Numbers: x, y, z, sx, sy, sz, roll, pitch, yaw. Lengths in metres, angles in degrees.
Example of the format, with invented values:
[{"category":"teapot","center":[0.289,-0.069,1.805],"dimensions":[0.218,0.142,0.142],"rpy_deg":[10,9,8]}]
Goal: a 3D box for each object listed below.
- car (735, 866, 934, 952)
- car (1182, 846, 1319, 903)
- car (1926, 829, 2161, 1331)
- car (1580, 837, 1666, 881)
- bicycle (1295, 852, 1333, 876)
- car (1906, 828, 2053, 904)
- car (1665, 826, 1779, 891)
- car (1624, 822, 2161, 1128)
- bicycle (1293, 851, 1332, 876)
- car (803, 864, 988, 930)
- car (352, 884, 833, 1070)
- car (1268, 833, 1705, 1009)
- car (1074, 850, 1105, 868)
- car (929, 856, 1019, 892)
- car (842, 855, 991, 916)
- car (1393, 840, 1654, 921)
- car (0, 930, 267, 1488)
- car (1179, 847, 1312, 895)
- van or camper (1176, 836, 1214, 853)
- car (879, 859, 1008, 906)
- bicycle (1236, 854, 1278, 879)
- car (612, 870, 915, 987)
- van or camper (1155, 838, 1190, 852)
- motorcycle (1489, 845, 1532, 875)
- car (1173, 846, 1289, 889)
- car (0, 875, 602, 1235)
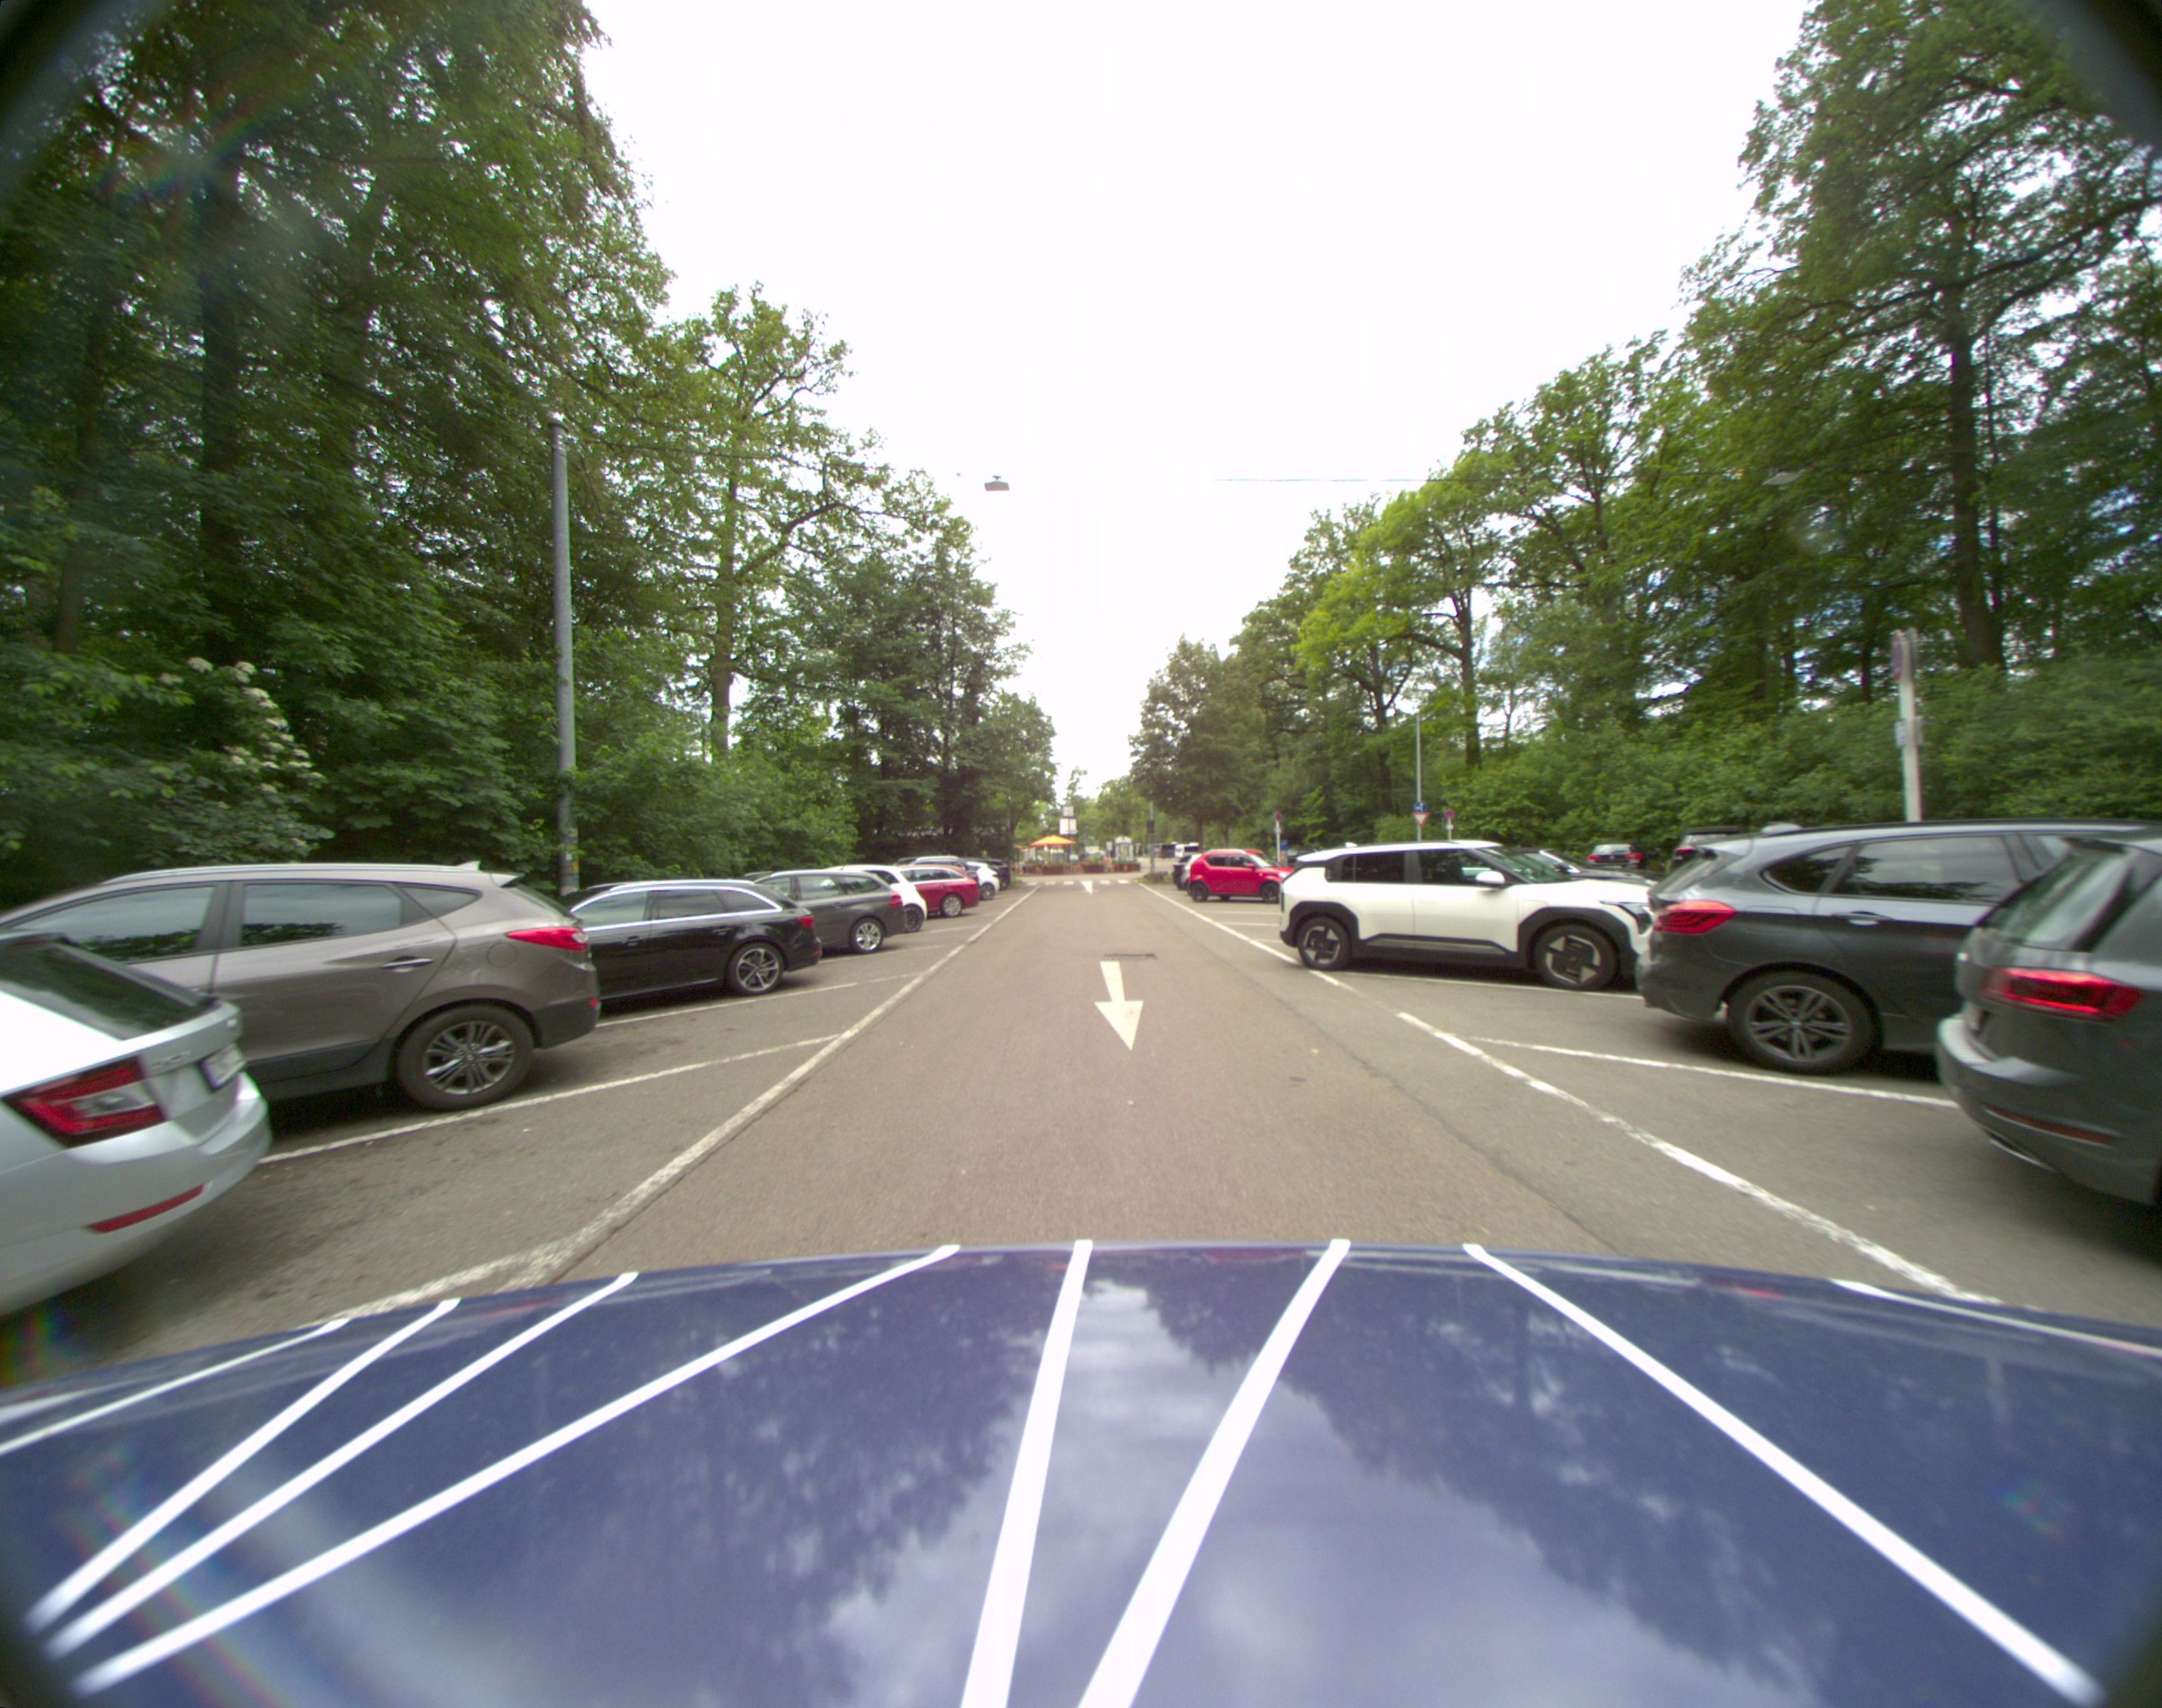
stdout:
[{"category":"car","center":[-5.150,1.066,16.127],"dimensions":[3.589,1.496,1.730],"rpy_deg":[-2,1,-42]},{"category":"car","center":[5.073,0.589,22.995],"dimensions":[3.644,1.576,1.690],"rpy_deg":[-1,1,43]},{"category":"car","center":[5.168,0.658,1.902],"dimensions":[3.966,1.577,1.851],"rpy_deg":[-2,0,45]},{"category":"car","center":[19.192,0.142,26.834],"dimensions":[4.008,1.368,1.735],"rpy_deg":[-2,1,-44]},{"category":"bicycle","center":[11.423,0.482,37.288],"dimensions":[1.695,1.105,0.483],"rpy_deg":[-2,1,8]},{"category":"car","center":[19.946,0.209,17.036],"dimensions":[4.008,1.502,1.864],"rpy_deg":[-2,0,-44]},{"category":"car","center":[19.230,0.096,22.716],"dimensions":[4.718,1.756,2.106],"rpy_deg":[-2,0,-44]},{"category":"car","center":[5.870,0.600,4.682],"dimensions":[3.989,1.545,1.877],"rpy_deg":[-2,0,39]},{"category":"bicycle","center":[11.079,0.459,36.418],"dimensions":[1.683,1.105,0.506],"rpy_deg":[-2,1,6]},{"category":"car","center":[-4.821,1.055,20.112],"dimensions":[4.304,1.405,1.923],"rpy_deg":[-2,1,-40]},{"category":"car","center":[-5.337,1.142,8.739],"dimensions":[1.960,1.369,4.271],"rpy_deg":[-1,0,44]},{"category":"car","center":[4.568,0.629,8.952],"dimensions":[4.178,1.587,1.850],"rpy_deg":[-2,0,43]},{"category":"car","center":[0.792,0.519,74.909],"dimensions":[1.937,1.660,4.339],"rpy_deg":[-2,0,-15]},{"category":"car","center":[-4.864,0.894,34.992],"dimensions":[1.695,1.483,3.799],"rpy_deg":[-1,1,45]},{"category":"car","center":[-5.053,0.926,23.685],"dimensions":[4.127,1.608,1.837],"rpy_deg":[-2,1,-41]},{"category":"car","center":[8.973,0.497,15.630],"dimensions":[4.304,1.433,1.873],"rpy_deg":[-1,0,43]},{"category":"car","center":[-4.978,1.121,1.751],"dimensions":[4.008,1.458,1.830],"rpy_deg":[-1,0,-40]},{"category":"car","center":[5.569,0.570,26.002],"dimensions":[3.989,1.475,1.880],"rpy_deg":[-1,1,43]},{"category":"van or camper","center":[20.034,-1.694,133.016],"dimensions":[7.354,2.833,2.063],"rpy_deg":[-2,1,-39]},{"category":"car","center":[-4.901,0.976,27.386],"dimensions":[4.127,1.430,1.864],"rpy_deg":[-2,1,-41]},{"category":"bicycle","center":[8.091,0.570,35.013],"dimensions":[1.787,1.105,0.483],"rpy_deg":[-2,1,4]},{"category":"car","center":[-5.068,1.068,12.511],"dimensions":[4.195,1.449,1.800],"rpy_deg":[-2,0,-44]},{"category":"van or camper","center":[18.887,-1.866,156.472],"dimensions":[7.352,2.833,2.198],"rpy_deg":[-2,1,-35]},{"category":"motorcycle","center":[18.081,0.253,32.000],"dimensions":[2.033,1.201,0.729],"rpy_deg":[-2,1,-34]},{"category":"car","center":[5.769,0.512,29.560],"dimensions":[1.834,1.514,4.089],"rpy_deg":[-3,1,-42]},{"category":"car","center":[-5.659,1.038,4.631],"dimensions":[4.271,1.627,1.960],"rpy_deg":[-2,1,-44]}]
